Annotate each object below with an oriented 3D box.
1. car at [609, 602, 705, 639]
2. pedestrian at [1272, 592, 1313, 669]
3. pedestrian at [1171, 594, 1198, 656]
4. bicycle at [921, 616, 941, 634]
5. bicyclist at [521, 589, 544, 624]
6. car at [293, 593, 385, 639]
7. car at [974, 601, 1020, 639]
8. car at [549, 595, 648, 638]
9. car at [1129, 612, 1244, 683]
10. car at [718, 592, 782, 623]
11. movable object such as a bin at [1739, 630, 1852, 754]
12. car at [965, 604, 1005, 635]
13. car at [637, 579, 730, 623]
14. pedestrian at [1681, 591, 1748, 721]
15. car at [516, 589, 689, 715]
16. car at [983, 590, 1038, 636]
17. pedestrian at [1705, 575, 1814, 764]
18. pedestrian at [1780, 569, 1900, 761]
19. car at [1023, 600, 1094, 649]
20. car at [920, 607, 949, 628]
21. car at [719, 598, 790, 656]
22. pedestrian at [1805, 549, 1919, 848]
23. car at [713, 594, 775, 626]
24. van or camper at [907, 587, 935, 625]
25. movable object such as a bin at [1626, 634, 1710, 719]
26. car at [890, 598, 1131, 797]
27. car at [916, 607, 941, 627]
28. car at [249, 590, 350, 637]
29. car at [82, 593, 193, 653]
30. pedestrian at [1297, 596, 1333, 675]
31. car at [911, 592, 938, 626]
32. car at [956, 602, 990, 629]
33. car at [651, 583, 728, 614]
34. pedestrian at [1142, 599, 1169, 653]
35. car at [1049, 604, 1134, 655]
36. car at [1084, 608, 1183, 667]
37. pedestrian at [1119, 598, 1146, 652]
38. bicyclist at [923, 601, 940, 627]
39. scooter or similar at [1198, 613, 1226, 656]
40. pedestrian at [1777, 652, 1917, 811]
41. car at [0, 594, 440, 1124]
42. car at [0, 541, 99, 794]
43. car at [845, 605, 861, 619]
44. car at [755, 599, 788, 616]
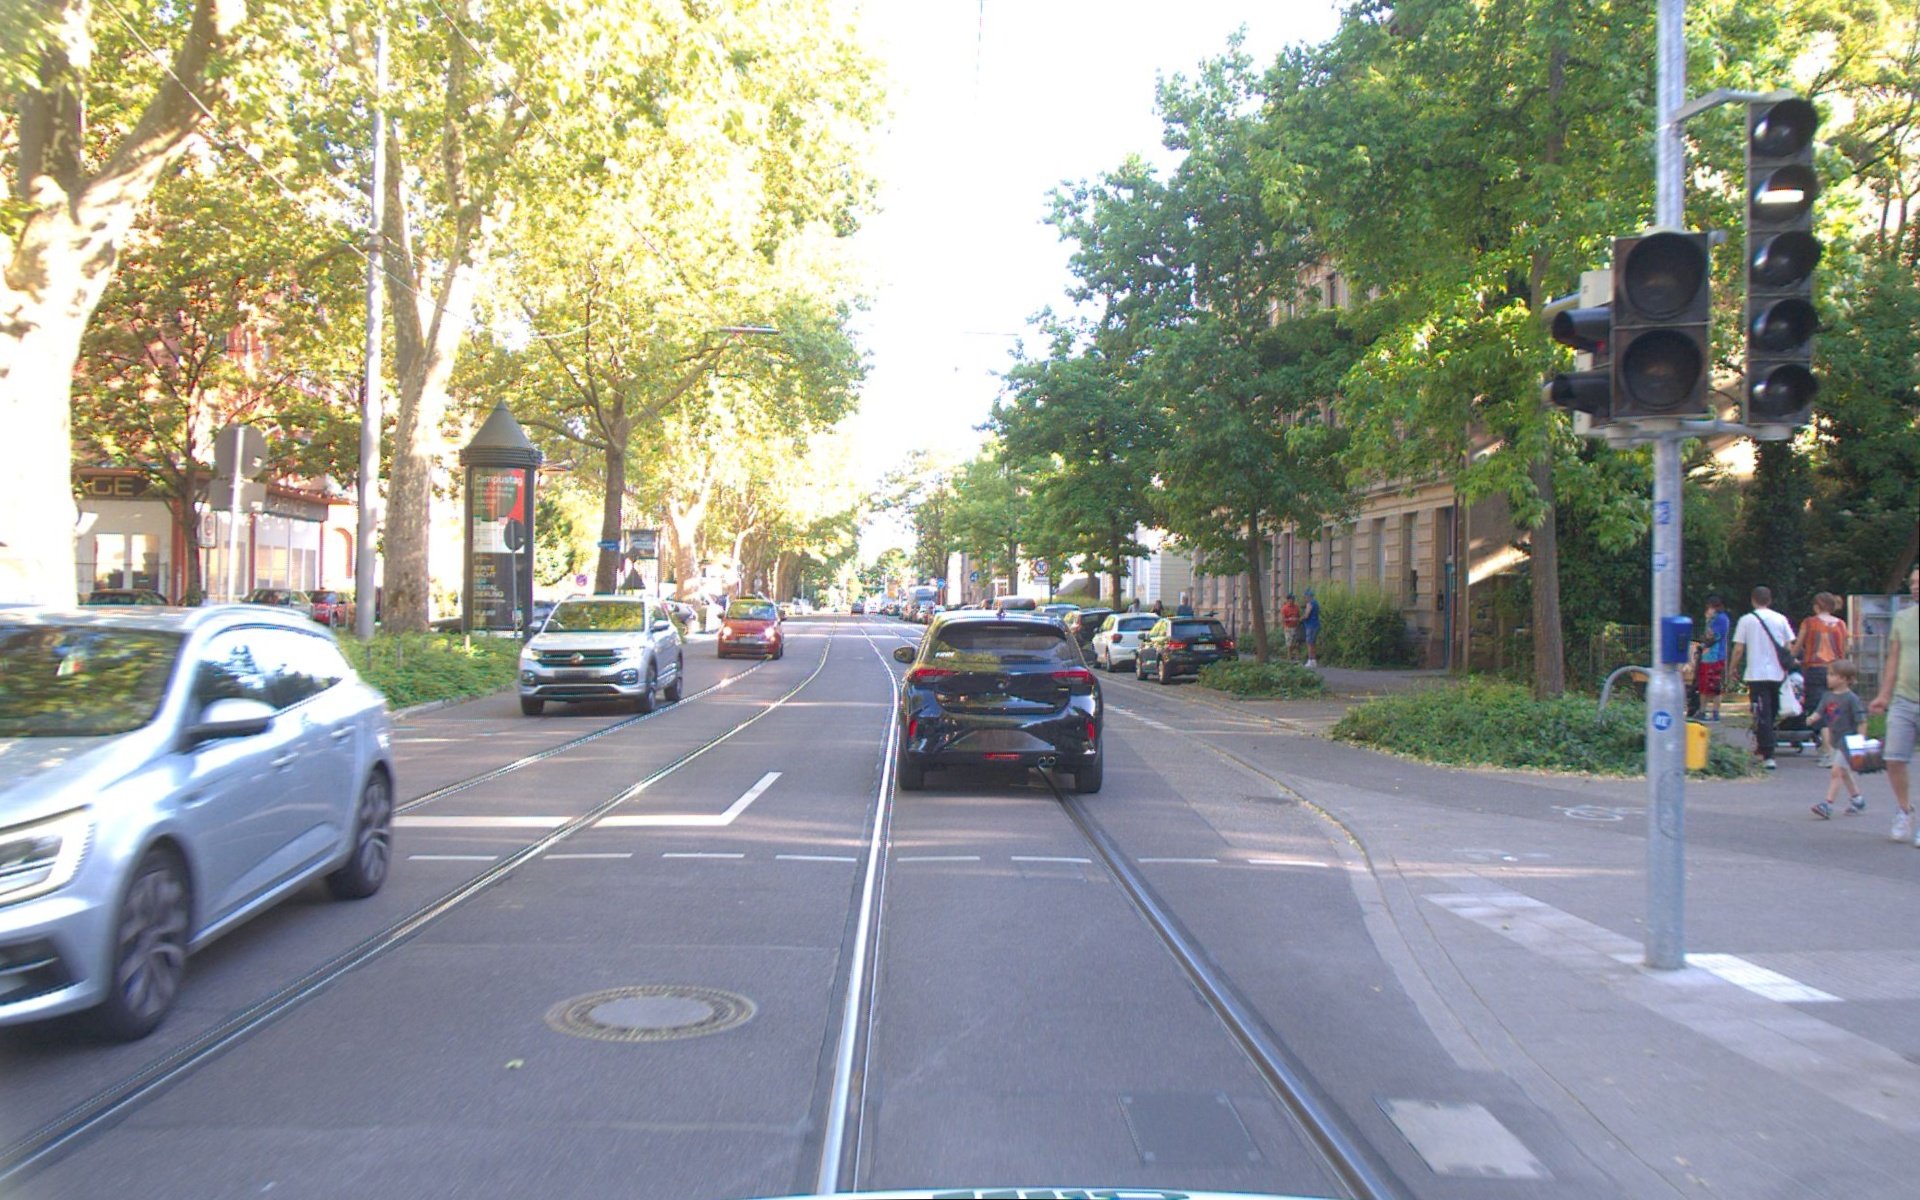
[{"bbox_3d":[-13.268,0.891,72.633,3.909,1.490,1.852,2,-1,-5],"label":"car"},{"bbox_3d":[8.042,0.736,39.987,0.718,1.824,0.595,2,-1,-29],"label":"pedestrian"},{"bbox_3d":[6.741,0.737,49.606,0.711,1.824,0.601,1,-1,4],"label":"pedestrian"},{"bbox_3d":[-1.749,1.514,99.620,0.949,1.016,2.580,2,-1,-5],"label":"bicycle"},{"bbox_3d":[-19.294,0.310,74.679,0.784,1.533,1.115,2,-1,-7],"label":"bicyclist"},{"bbox_3d":[-21.991,0.555,58.747,1.909,1.513,3.997,2,-1,-4],"label":"car"},{"bbox_3d":[1.777,0.980,81.673,1.848,1.797,4.674,0,-1,-4],"label":"car"},{"bbox_3d":[-13.588,0.612,62.294,3.351,1.490,1.696,2,-1,-2],"label":"car"},{"bbox_3d":[4.923,1.010,36.408,1.640,1.437,3.838,-2,0,-6],"label":"car"},{"bbox_3d":[-19.083,0.651,150.380,5.524,2.638,2.196,2,-1,-1],"label":"car"},{"bbox_3d":[8.762,0.945,17.392,0.625,1.223,1.306,-1,0,7],"label":"movable object such as a bin"},{"bbox_3d":[1.286,1.041,87.614,1.679,1.541,4.032,-1,0,-5],"label":"car"},{"bbox_3d":[-15.333,0.075,91.998,4.938,2.299,2.082,2,-1,-8],"label":"car"},{"bbox_3d":[10.332,0.761,22.650,0.608,1.756,0.551,2,-1,-20],"label":"pedestrian"},{"bbox_3d":[-4.910,0.676,23.235,1.780,1.596,4.113,-1,0,-4],"label":"car"},{"bbox_3d":[2.173,0.572,72.652,1.847,1.884,4.963,-2,0,-4],"label":"car"},{"bbox_3d":[7.961,0.675,16.501,0.710,1.824,0.854,-1,0,6],"label":"pedestrian"},{"bbox_3d":[8.676,0.626,16.339,0.710,1.824,0.968,-1,0,7],"label":"pedestrian"},{"bbox_3d":[3.351,0.832,57.085,1.847,1.595,4.238,-2,0,-4],"label":"car"},{"bbox_3d":[-1.892,1.278,122.162,1.847,1.459,4.526,-2,0,-4],"label":"car"},{"bbox_3d":[-5.384,0.694,43.656,1.628,1.469,3.471,0,-1,-3],"label":"car"},{"bbox_3d":[6.416,0.641,11.103,0.855,1.918,0.991,2,-1,-22],"label":"pedestrian"},{"bbox_3d":[-17.960,0.808,137.722,4.937,2.416,2.079,-3,0,-4],"label":"car"},{"bbox_3d":[-3.478,0.524,146.023,2.210,3.272,5.526,0,0,-4],"label":"van or camper"},{"bbox_3d":[9.993,1.071,23.371,0.653,1.146,0.954,2,-1,-11],"label":"movable object such as a bin"},{"bbox_3d":[0.309,0.770,14.708,1.728,1.486,3.947,2,-1,-4],"label":"car"},{"bbox_3d":[-2.545,1.375,132.289,1.768,1.460,3.996,0,-2,-4],"label":"car"},{"bbox_3d":[-21.697,0.457,54.489,1.909,1.432,3.889,2,-1,-4],"label":"car"},{"bbox_3d":[-22.060,0.600,44.520,1.781,1.519,3.985,2,-1,-14],"label":"car"},{"bbox_3d":[8.409,0.839,39.166,0.587,1.824,0.727,2,-1,-7],"label":"pedestrian"},{"bbox_3d":[-2.994,0.756,139.479,2.044,2.821,4.693,0,0,-4],"label":"car"},{"bbox_3d":[0.736,0.895,96.272,1.669,1.448,3.975,-3,0,-4],"label":"car"},{"bbox_3d":[-15.544,-0.078,95.144,4.217,1.635,1.923,1,-1,-7],"label":"car"},{"bbox_3d":[6.423,0.848,54.380,0.711,1.739,0.856,2,-1,-1],"label":"pedestrian"},{"bbox_3d":[4.091,0.917,52.209,1.848,1.493,4.588,-2,0,-6],"label":"car"},{"bbox_3d":[4.440,0.933,42.880,1.847,1.392,4.103,-2,0,-4],"label":"car"},{"bbox_3d":[5.648,0.819,54.225,0.711,1.722,0.956,2,-1,-1],"label":"pedestrian"},{"bbox_3d":[-1.731,0.824,99.621,0.939,1.525,1.093,2,-1,-6],"label":"bicyclist"},{"bbox_3d":[7.527,1.019,49.427,0.564,1.268,1.334,2,-1,-3],"label":"scooter or similar"},{"bbox_3d":[6.704,0.982,12.517,0.665,1.138,0.655,2,-1,-24],"label":"pedestrian"},{"bbox_3d":[-3.567,0.732,6.734,1.740,1.486,4.201,2,-1,-3],"label":"car"},{"bbox_3d":[-9.365,0.441,12.616,4.482,1.866,1.936,2,-1,-6],"label":"car"},{"bbox_3d":[-14.954,1.640,231.682,2.209,1.873,5.527,0,0,-3],"label":"car"},{"bbox_3d":[-24.287,0.972,212.901,3.904,2.049,2.000,2,-1,2],"label":"car"}]
